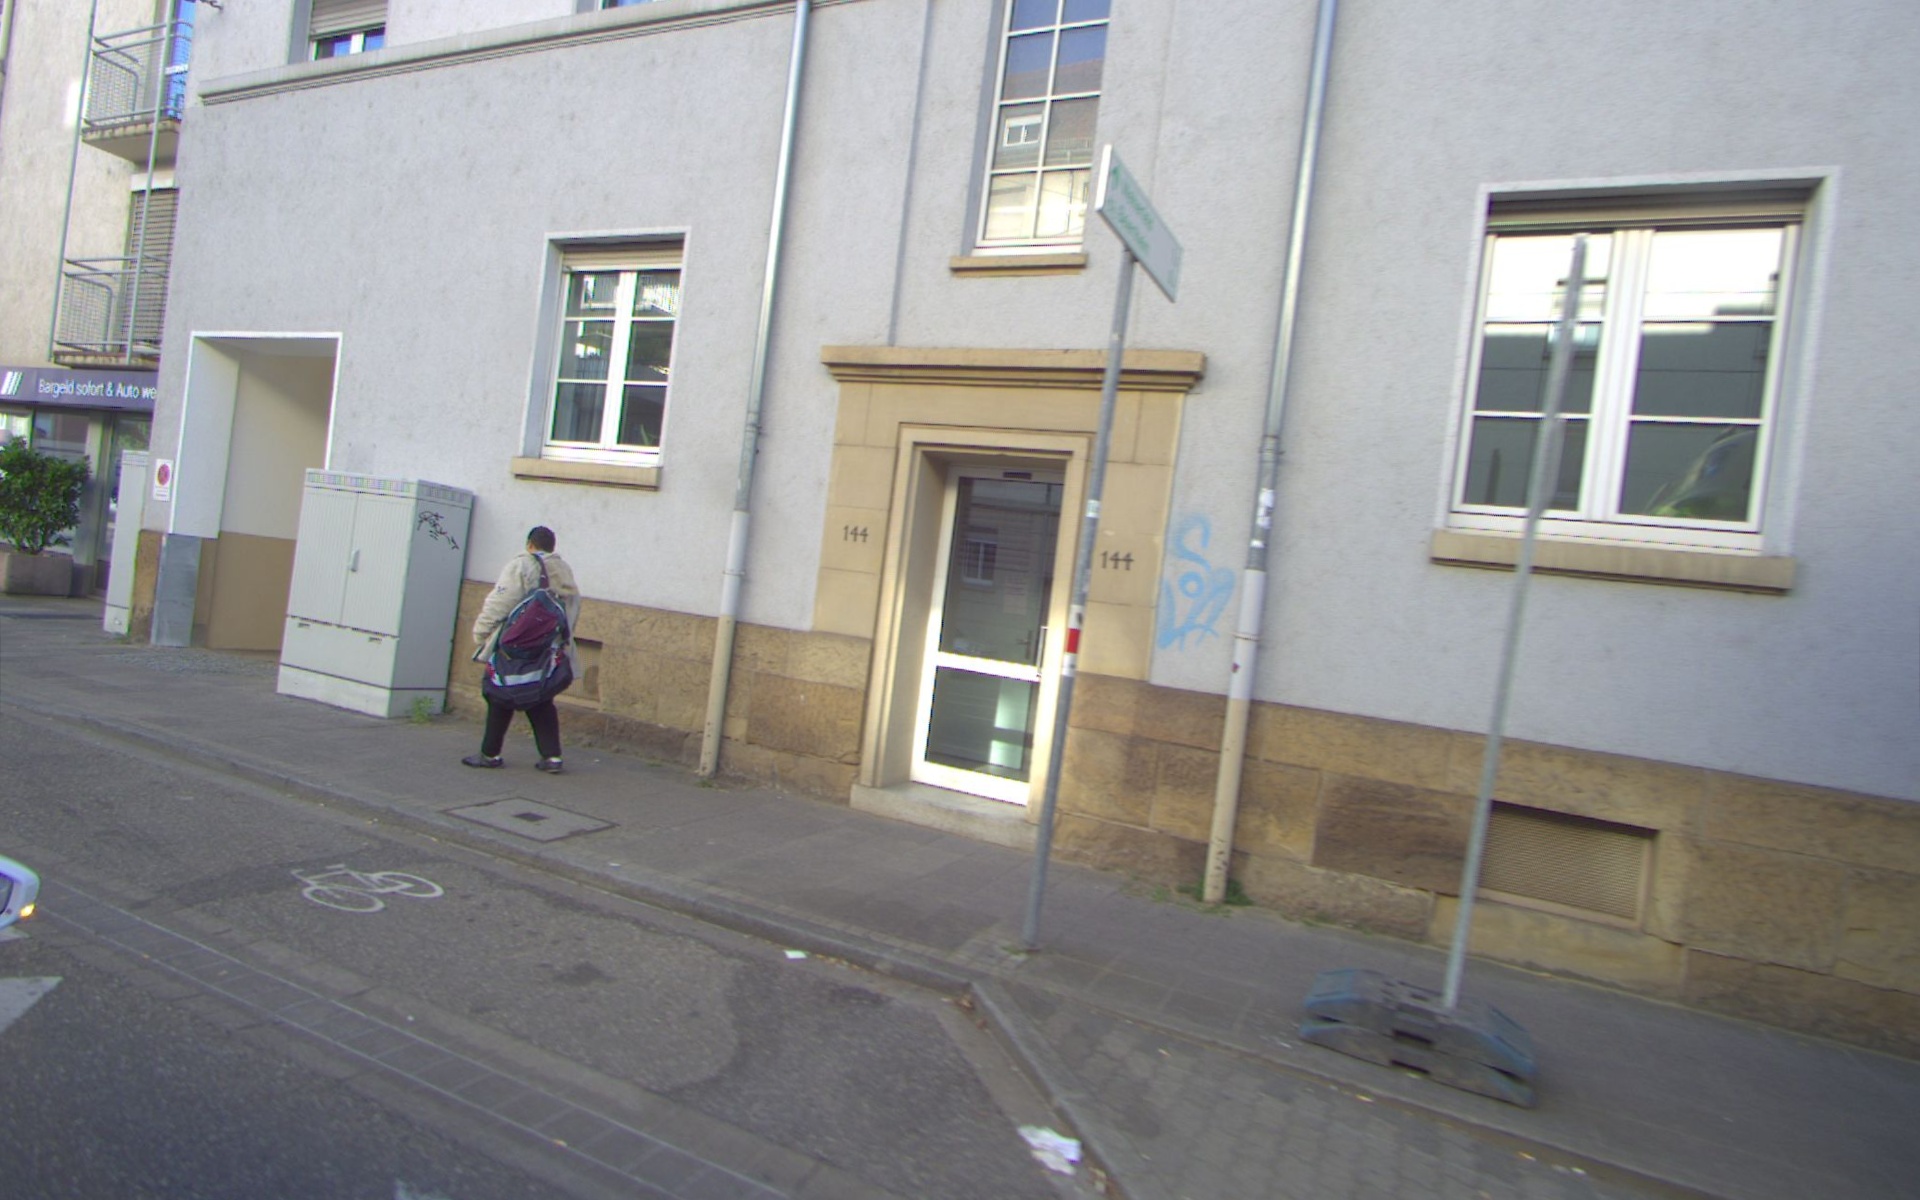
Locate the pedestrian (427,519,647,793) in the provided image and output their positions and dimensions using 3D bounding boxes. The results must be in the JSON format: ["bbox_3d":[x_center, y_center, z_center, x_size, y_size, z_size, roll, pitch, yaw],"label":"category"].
[{"bbox_3d":[-2.703,0.332,6.467,0.854,1.554,0.826,7,2,26],"label":"pedestrian"}]
